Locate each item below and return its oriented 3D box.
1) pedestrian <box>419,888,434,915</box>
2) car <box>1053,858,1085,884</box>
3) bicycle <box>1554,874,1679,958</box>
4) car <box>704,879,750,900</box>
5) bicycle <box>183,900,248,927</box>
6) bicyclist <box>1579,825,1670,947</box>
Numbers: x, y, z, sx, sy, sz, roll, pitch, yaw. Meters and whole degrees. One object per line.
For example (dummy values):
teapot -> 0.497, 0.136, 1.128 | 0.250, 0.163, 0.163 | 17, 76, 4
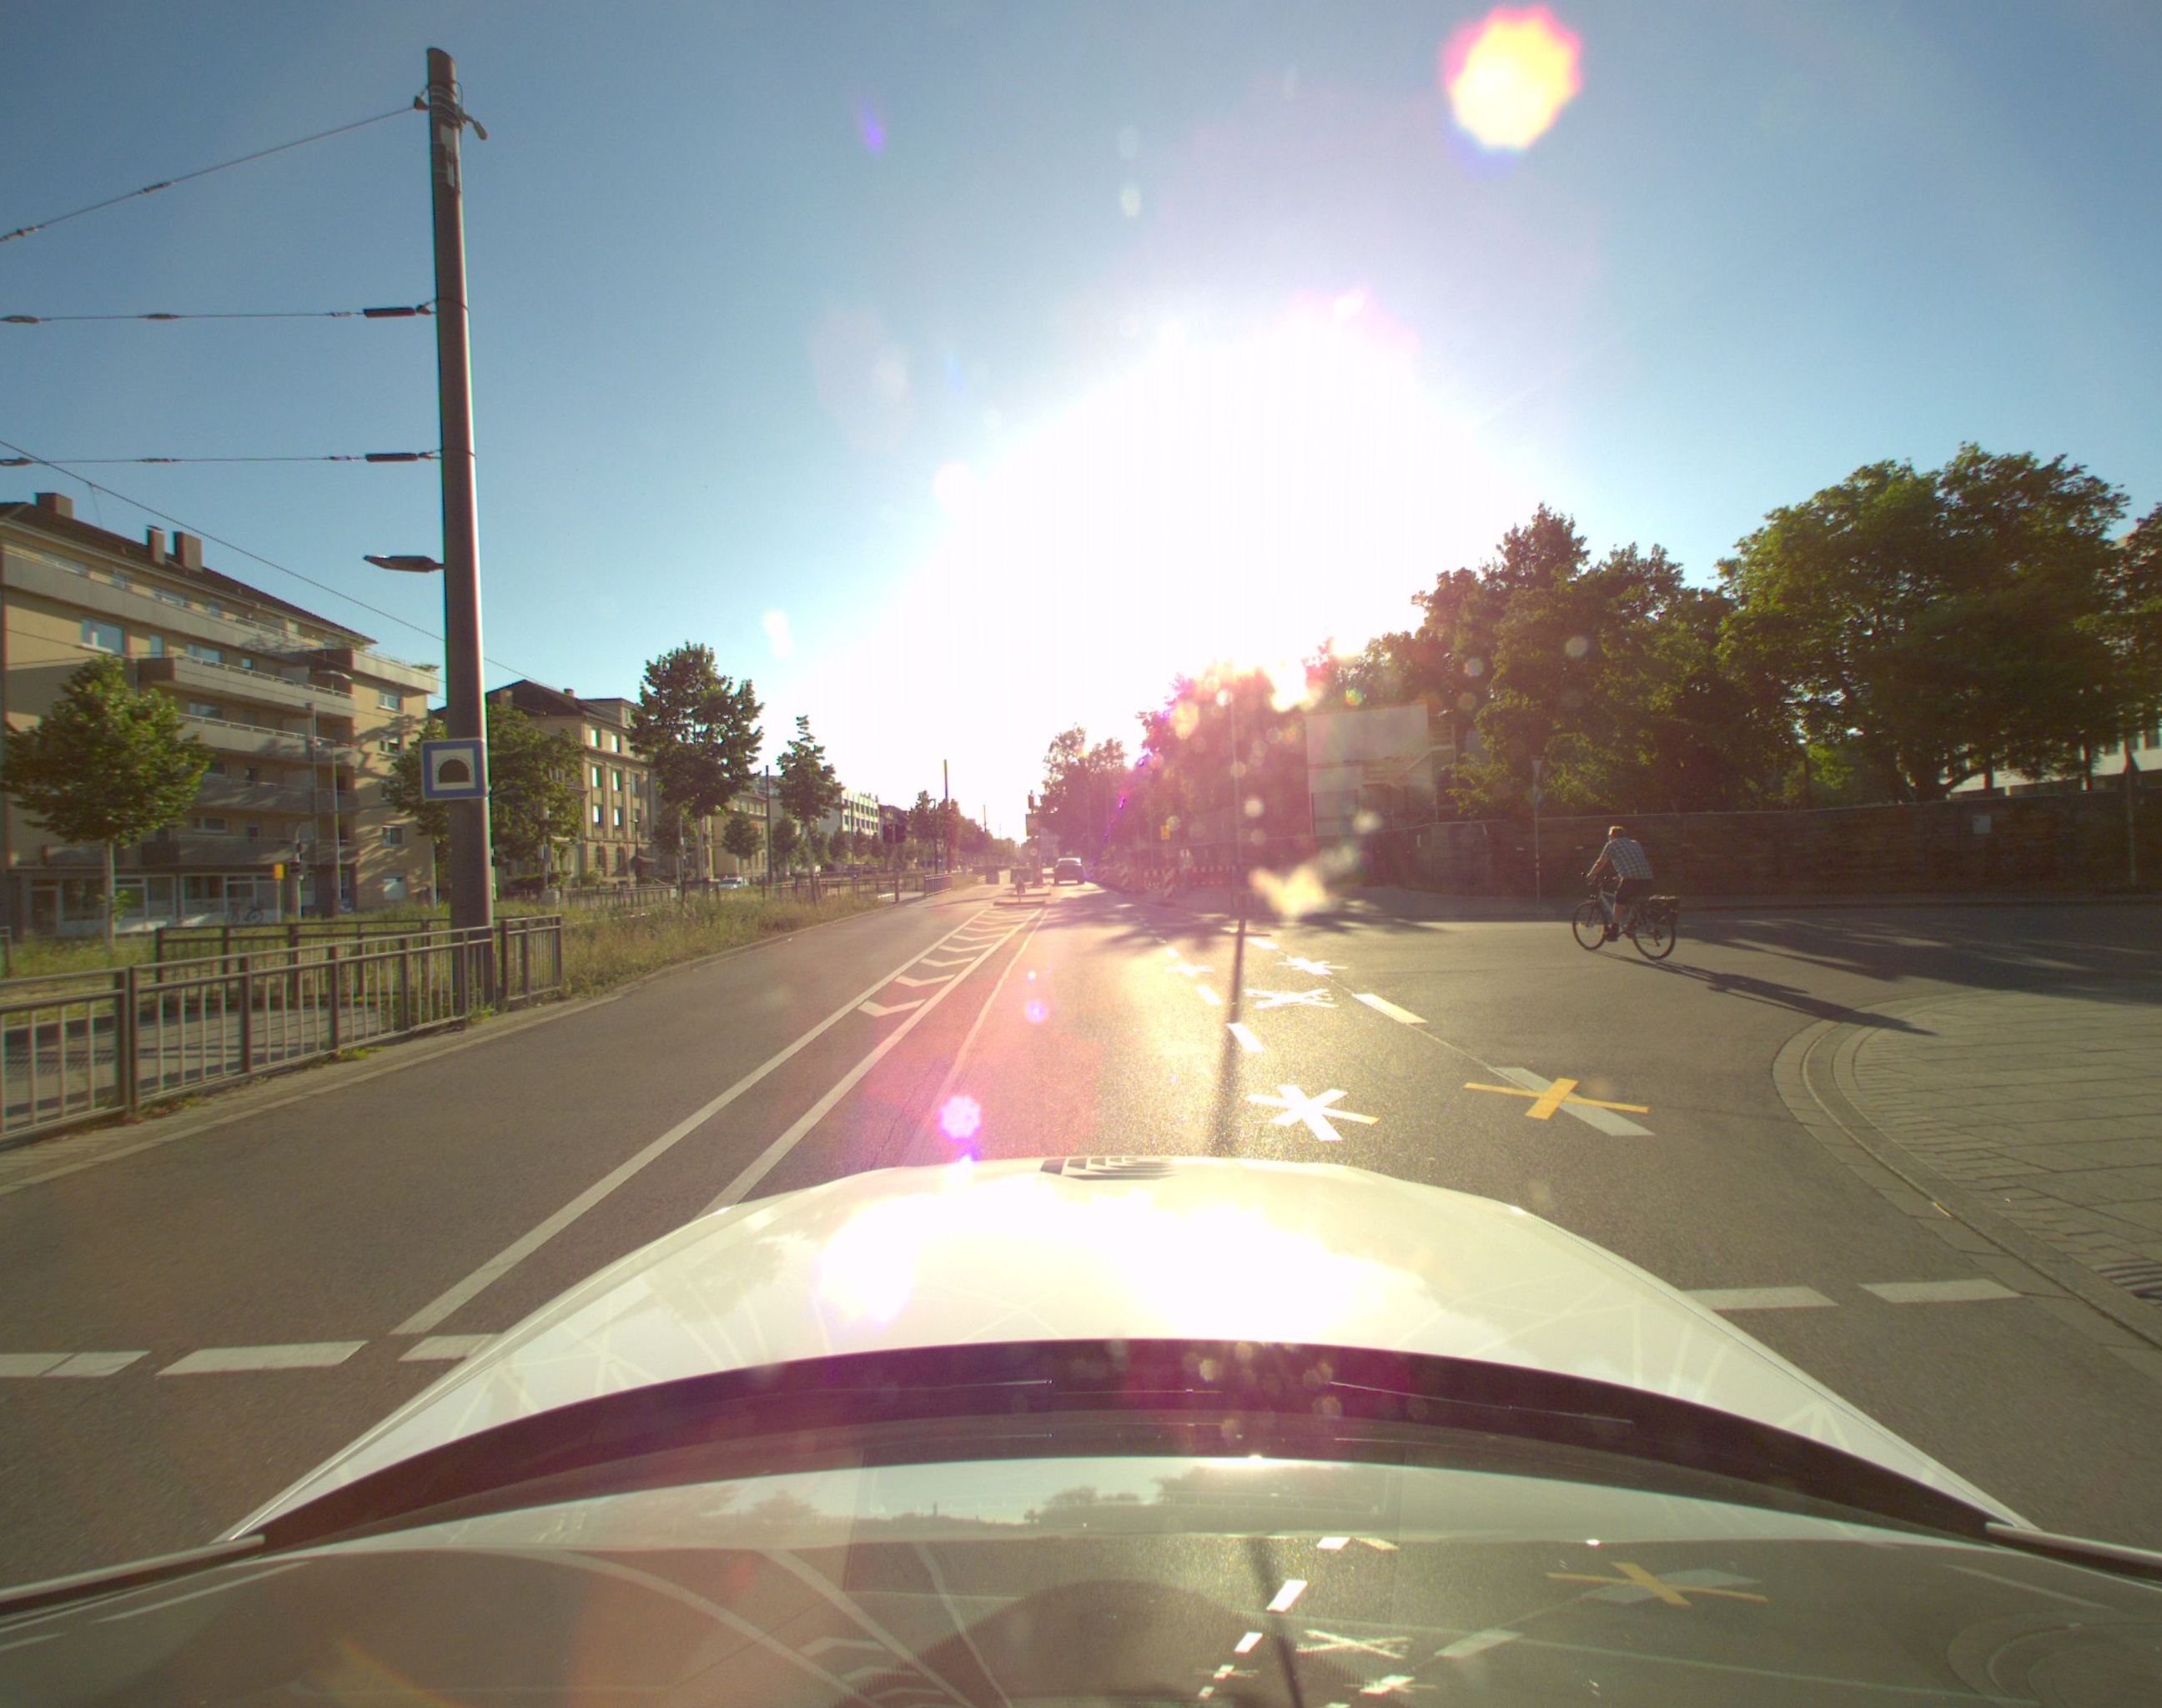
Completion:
pedestrian -> -39.121, 2.819, 48.685 | 0.518, 1.556, 0.448 | -2, -1, -4
car -> -0.816, 1.121, 54.377 | 2.000, 1.659, 3.995 | 0, -1, -3
bicycle -> 7.542, 0.826, 11.578 | 0.426, 1.061, 1.909 | -2, -1, -2
car -> -27.788, 2.741, 64.105 | 1.772, 1.463, 4.656 | -2, -1, -4
bicycle -> -42.794, 2.939, 40.328 | 0.529, 1.137, 2.583 | -2, -1, -3
bicyclist -> 7.575, 0.431, 11.386 | 0.582, 1.614, 0.902 | -2, -1, -3
